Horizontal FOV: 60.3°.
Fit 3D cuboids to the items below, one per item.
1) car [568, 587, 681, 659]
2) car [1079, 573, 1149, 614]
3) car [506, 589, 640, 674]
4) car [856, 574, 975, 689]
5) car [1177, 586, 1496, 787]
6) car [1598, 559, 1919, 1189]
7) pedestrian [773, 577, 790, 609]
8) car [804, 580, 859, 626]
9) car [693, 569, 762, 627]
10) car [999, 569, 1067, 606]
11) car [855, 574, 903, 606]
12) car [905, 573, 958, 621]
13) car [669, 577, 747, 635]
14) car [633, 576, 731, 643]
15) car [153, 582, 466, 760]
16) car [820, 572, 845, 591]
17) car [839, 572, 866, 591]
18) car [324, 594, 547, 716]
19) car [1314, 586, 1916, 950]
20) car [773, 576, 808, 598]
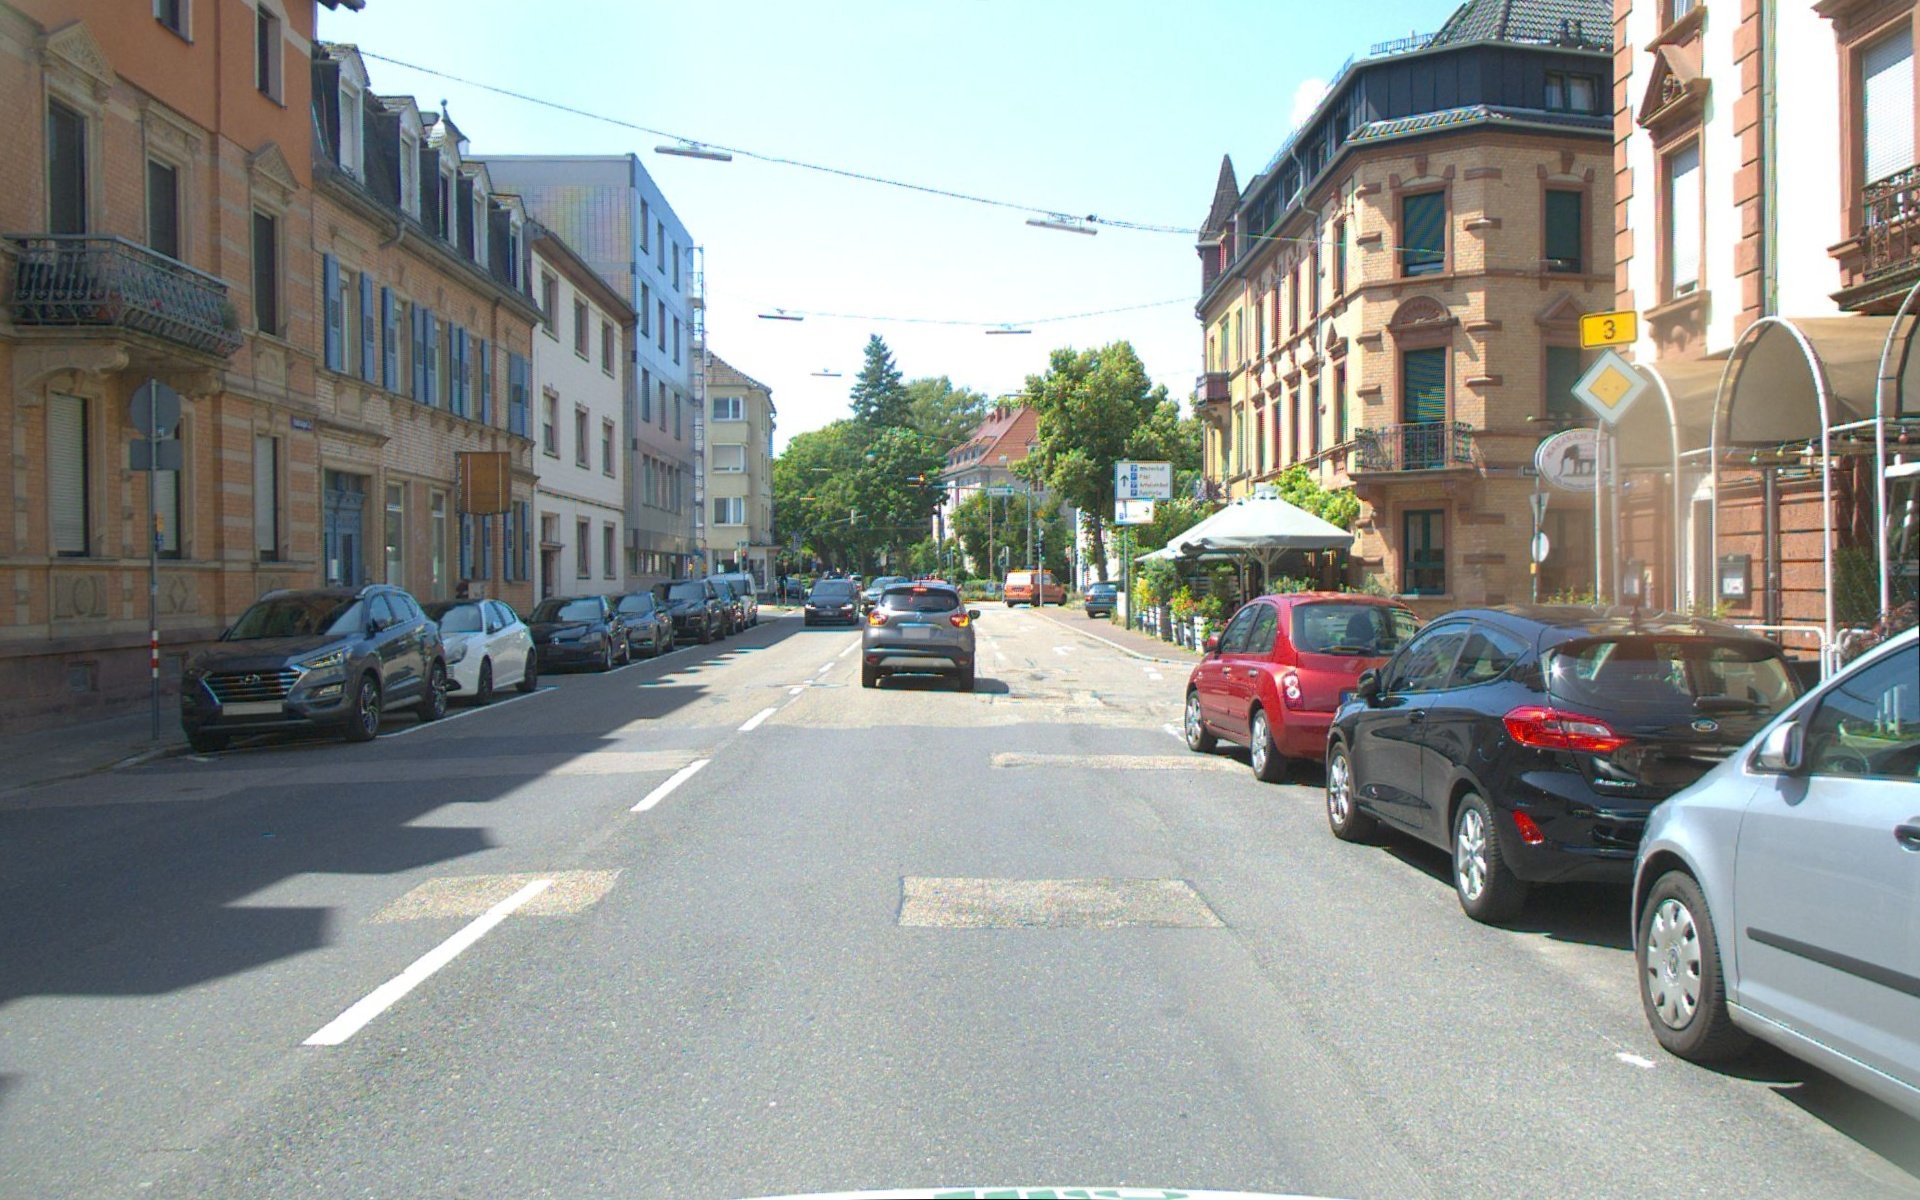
[{"bbox_3d":[-7.615,0.475,37.948,1.828,1.431,4.834,-4,1,-4],"label":"car"},{"bbox_3d":[6.537,-0.293,69.631,1.796,1.575,5.159,0,2,19],"label":"car"},{"bbox_3d":[-7.506,0.571,32.457,1.828,1.431,4.327,-4,1,-4],"label":"car"},{"bbox_3d":[-0.666,0.435,26.243,1.718,1.660,4.000,1,1,0],"label":"car"},{"bbox_3d":[3.186,0.663,14.763,1.723,1.504,3.781,2,0,-4],"label":"car"},{"bbox_3d":[3.287,0.714,4.217,1.721,1.578,4.066,2,0,0],"label":"car"},{"bbox_3d":[-10.919,-0.450,101.097,0.919,1.965,0.974,0,0,-13],"label":"pedestrian"},{"bbox_3d":[-4.503,0.068,58.479,1.724,1.520,4.244,-1,1,-2],"label":"car"},{"bbox_3d":[-8.006,-0.082,57.227,1.875,1.857,4.786,-1,1,-3],"label":"car"},{"bbox_3d":[4.037,-0.698,91.167,1.956,2.011,4.495,0,1,29],"label":"car"},{"bbox_3d":[-4.219,-0.549,87.124,1.665,1.602,4.316,-1,1,9],"label":"car"},{"bbox_3d":[-0.956,-0.122,57.975,1.762,1.585,4.037,1,1,0],"label":"car"},{"bbox_3d":[-7.698,0.158,50.940,1.847,1.669,4.661,-1,1,-3],"label":"car"},{"bbox_3d":[-7.455,0.232,44.773,1.846,1.669,4.817,-1,1,-1],"label":"car"},{"bbox_3d":[-7.158,0.690,18.761,1.828,1.656,4.498,-4,1,-2],"label":"car"},{"bbox_3d":[-13.357,-1.945,173.444,1.959,1.939,3.986,1,1,-14],"label":"car"},{"bbox_3d":[-10.400,-1.788,160.336,1.959,1.839,3.986,1,1,-14],"label":"car"},{"bbox_3d":[-7.385,0.713,23.762,1.827,1.450,4.330,-4,1,-1],"label":"car"},{"bbox_3d":[3.238,0.707,9.082,1.721,1.504,3.931,2,0,0],"label":"car"},{"bbox_3d":[-12.286,-0.948,119.900,1.960,1.545,3.985,1,0,-15],"label":"car"}]
